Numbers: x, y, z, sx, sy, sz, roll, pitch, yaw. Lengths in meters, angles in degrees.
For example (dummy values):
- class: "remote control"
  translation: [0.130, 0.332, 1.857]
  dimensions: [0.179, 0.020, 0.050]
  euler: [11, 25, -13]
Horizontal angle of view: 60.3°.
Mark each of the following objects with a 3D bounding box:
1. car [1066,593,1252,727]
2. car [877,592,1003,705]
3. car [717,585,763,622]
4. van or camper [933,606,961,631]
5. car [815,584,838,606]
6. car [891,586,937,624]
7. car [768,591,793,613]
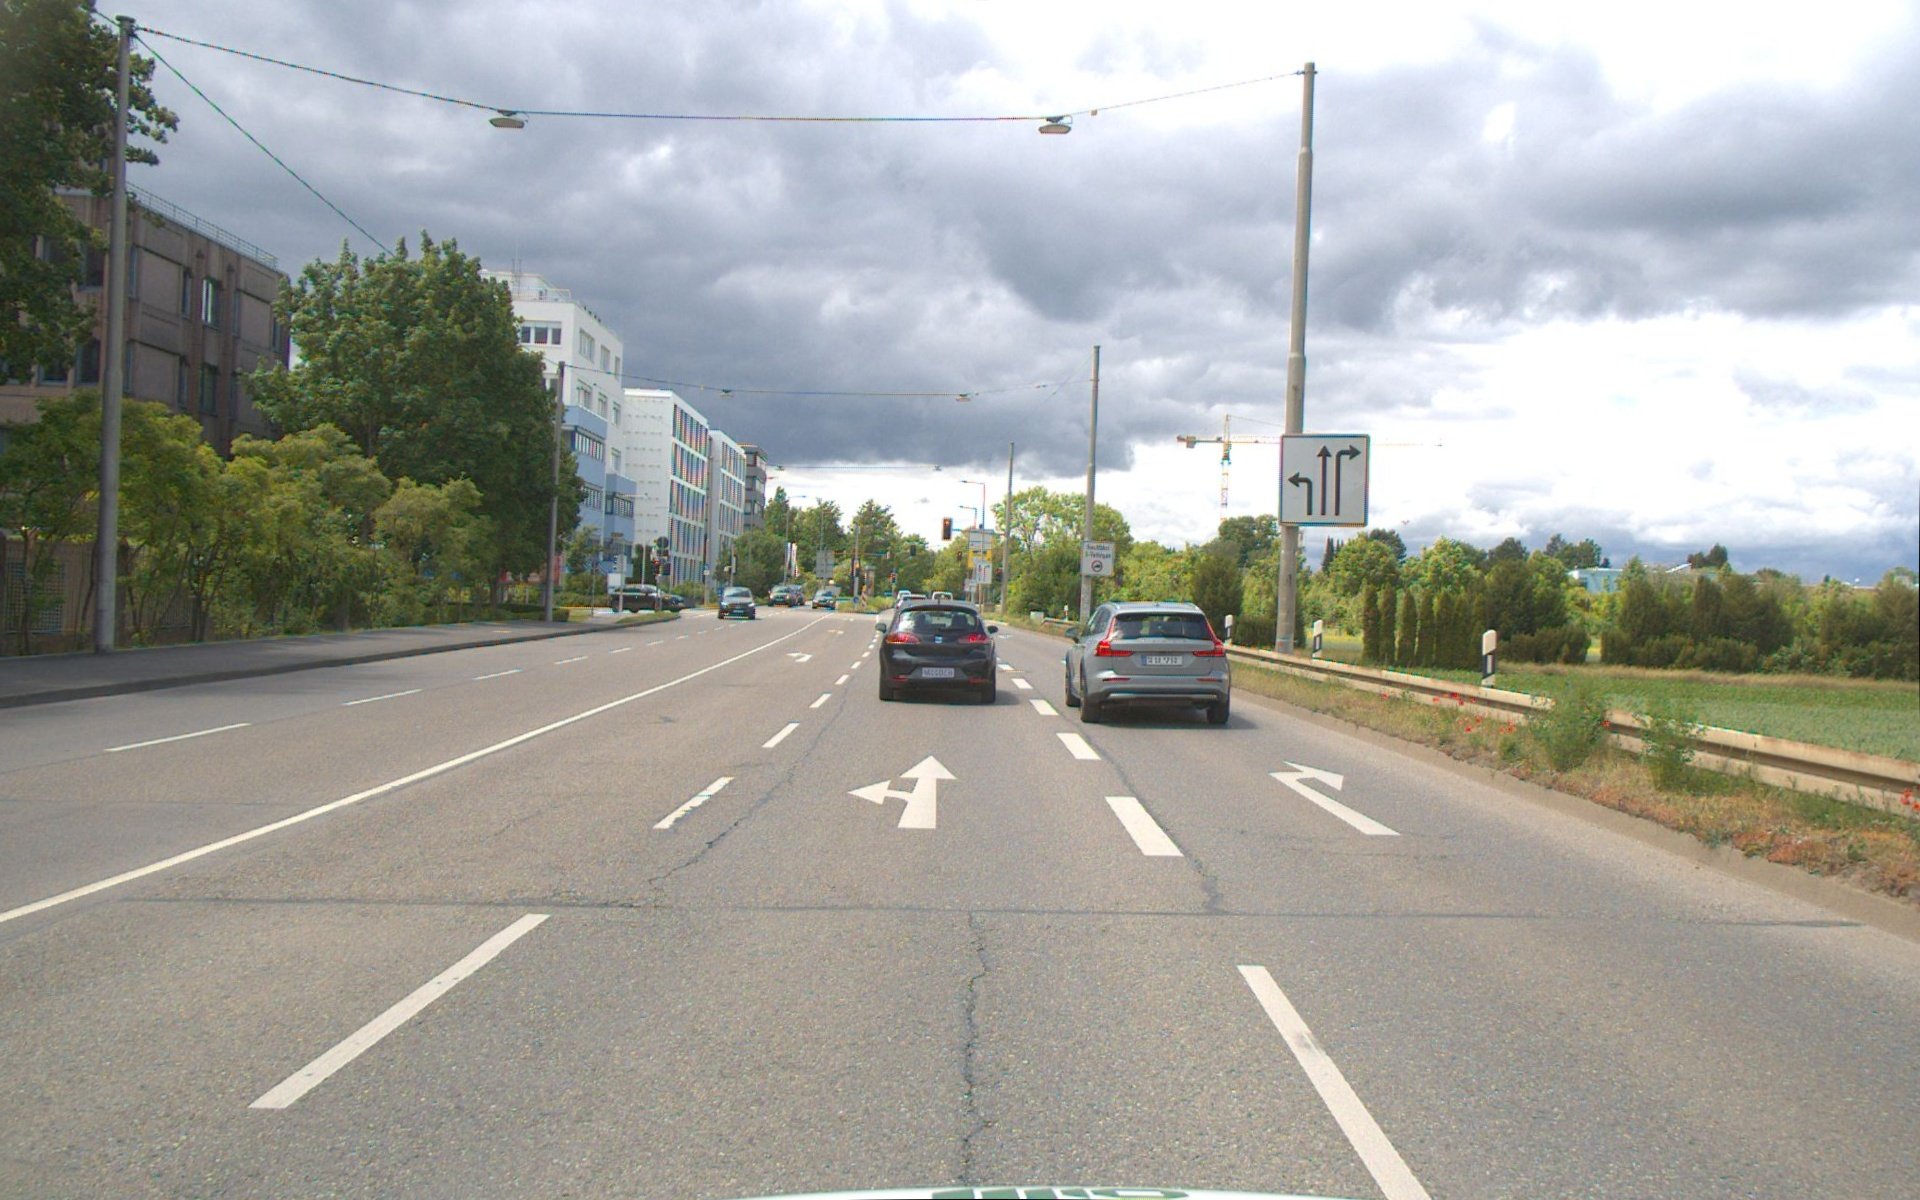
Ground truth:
- class: "car"
  translation: [2.483, 0.724, 21.653]
  dimensions: [1.918, 1.552, 4.340]
  euler: [1, 0, 0]
- class: "car"
  translation: [-0.265, 0.686, 24.958]
  dimensions: [1.712, 1.510, 4.000]
  euler: [2, 0, 0]
- class: "car"
  translation: [-10.906, 0.185, 82.182]
  dimensions: [1.761, 1.612, 4.311]
  euler: [5, -1, -3]
- class: "van or camper"
  translation: [-1.101, 1.563, 138.550]
  dimensions: [1.863, 1.959, 3.995]
  euler: [4, -1, -5]
- class: "car"
  translation: [-10.211, -0.377, 126.231]
  dimensions: [1.635, 1.551, 4.006]
  euler: [0, 1, -3]
- class: "car"
  translation: [-2.194, 0.212, 78.050]
  dimensions: [1.944, 1.617, 4.223]
  euler: [3, 1, -4]
- class: "car"
  translation: [-13.829, 0.146, 127.608]
  dimensions: [1.716, 1.659, 3.997]
  euler: [0, 0, -3]
